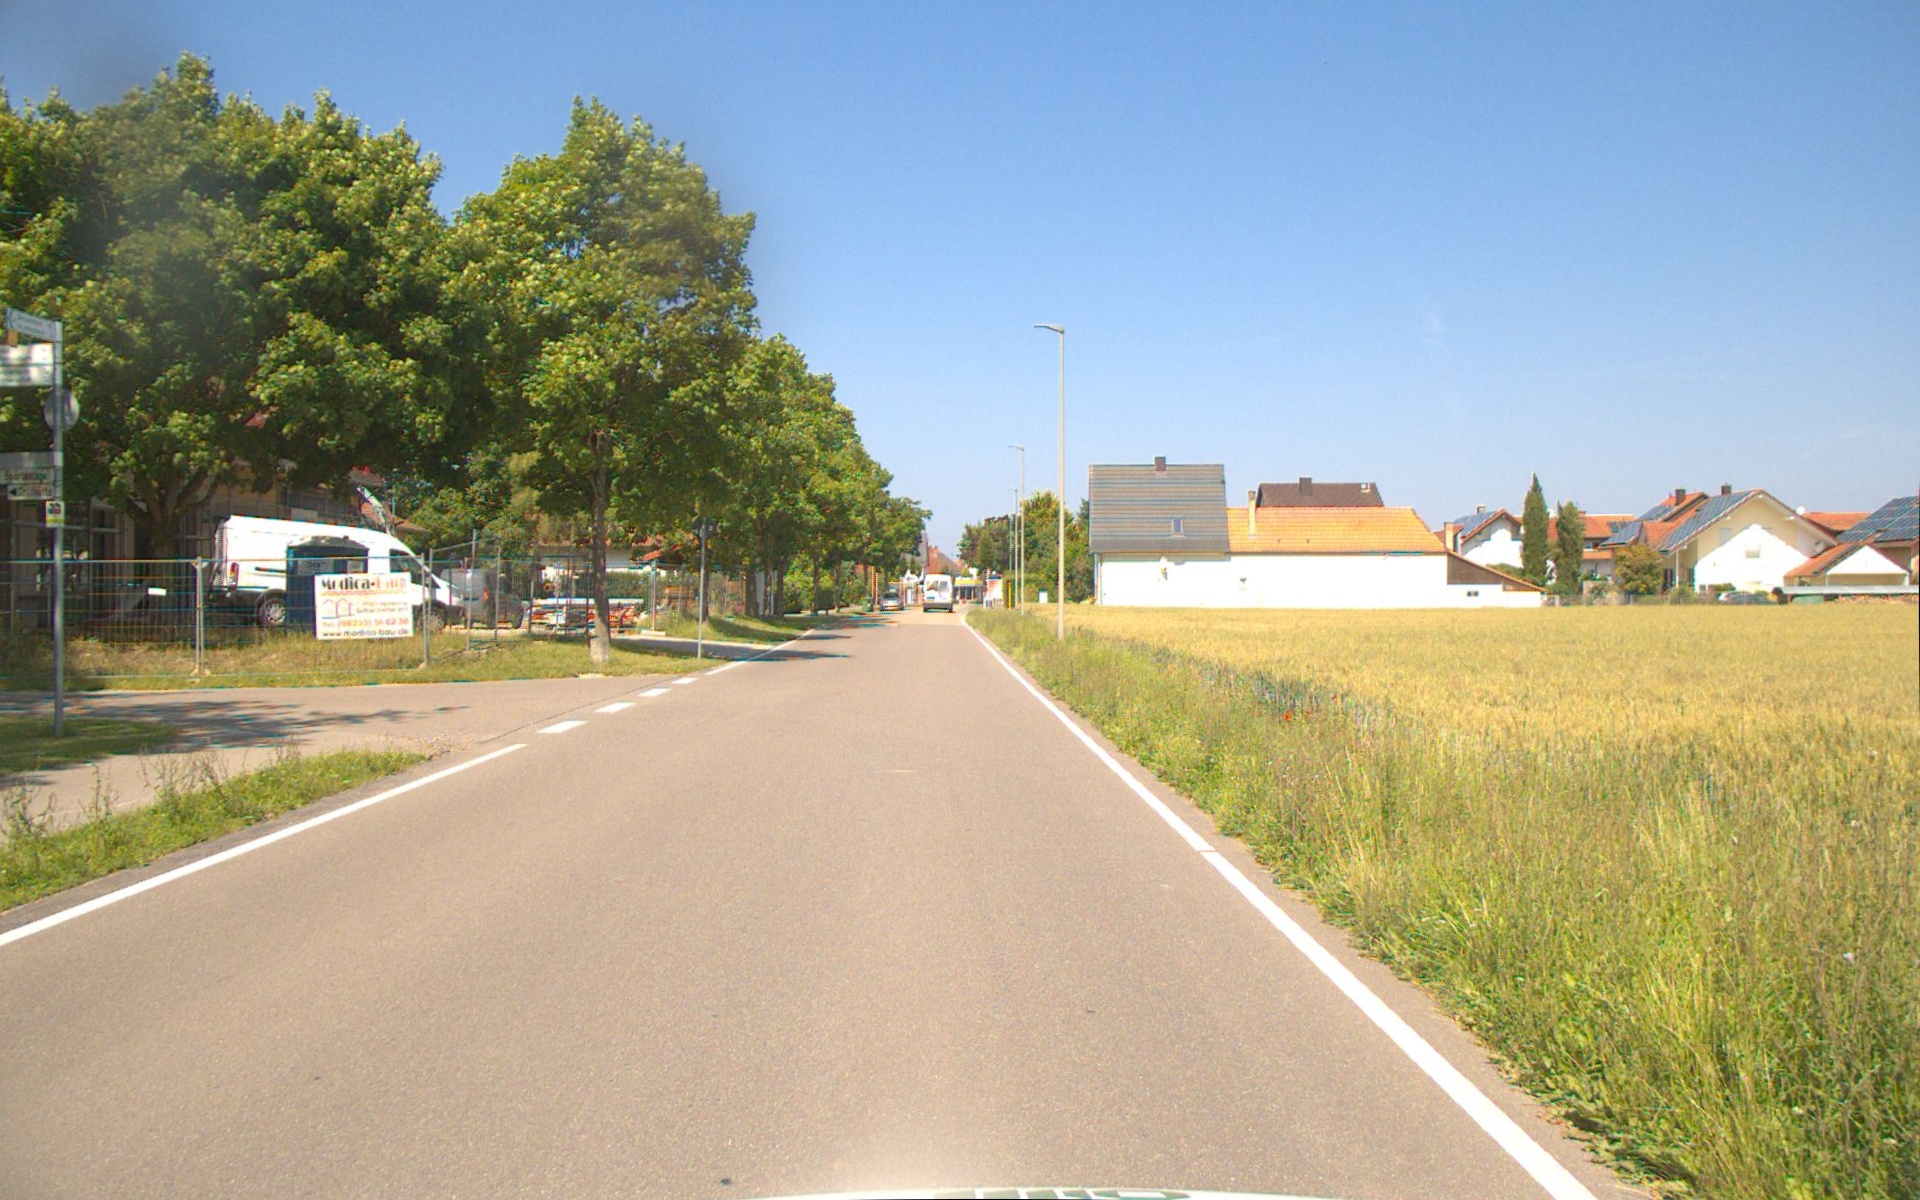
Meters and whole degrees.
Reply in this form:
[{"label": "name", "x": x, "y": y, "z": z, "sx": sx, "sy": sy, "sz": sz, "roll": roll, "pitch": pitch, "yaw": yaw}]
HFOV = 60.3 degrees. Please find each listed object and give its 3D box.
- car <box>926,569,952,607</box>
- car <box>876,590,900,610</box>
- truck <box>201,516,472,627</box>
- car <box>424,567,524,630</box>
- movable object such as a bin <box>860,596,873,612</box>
[{"label": "car", "x": -1.437, "y": -0.796, "z": 111.961, "sx": 1.702, "sy": 2.474, "sz": 4.373, "roll": -1, "pitch": 0, "yaw": -1}, {"label": "car", "x": -5.454, "y": 0.009, "z": 125.387, "sx": 1.614, "sy": 1.448, "sz": 4.079, "roll": -3, "pitch": 0, "yaw": -1}, {"label": "truck", "x": -15.066, "y": -0.641, "z": 40.166, "sx": 5.871, "sy": 2.527, "sz": 1.973, "roll": 0, "pitch": 0, "yaw": -38}, {"label": "car", "x": -15.093, "y": -0.060, "z": 51.616, "sx": 1.930, "sy": 1.870, "sz": 4.327, "roll": 0, "pitch": 0, "yaw": -2}, {"label": "movable object such as a bin", "x": -6.764, "y": 0.284, "z": 119.868, "sx": 0.699, "sy": 1.097, "sz": 0.639, "roll": -1, "pitch": 0, "yaw": 26}]
